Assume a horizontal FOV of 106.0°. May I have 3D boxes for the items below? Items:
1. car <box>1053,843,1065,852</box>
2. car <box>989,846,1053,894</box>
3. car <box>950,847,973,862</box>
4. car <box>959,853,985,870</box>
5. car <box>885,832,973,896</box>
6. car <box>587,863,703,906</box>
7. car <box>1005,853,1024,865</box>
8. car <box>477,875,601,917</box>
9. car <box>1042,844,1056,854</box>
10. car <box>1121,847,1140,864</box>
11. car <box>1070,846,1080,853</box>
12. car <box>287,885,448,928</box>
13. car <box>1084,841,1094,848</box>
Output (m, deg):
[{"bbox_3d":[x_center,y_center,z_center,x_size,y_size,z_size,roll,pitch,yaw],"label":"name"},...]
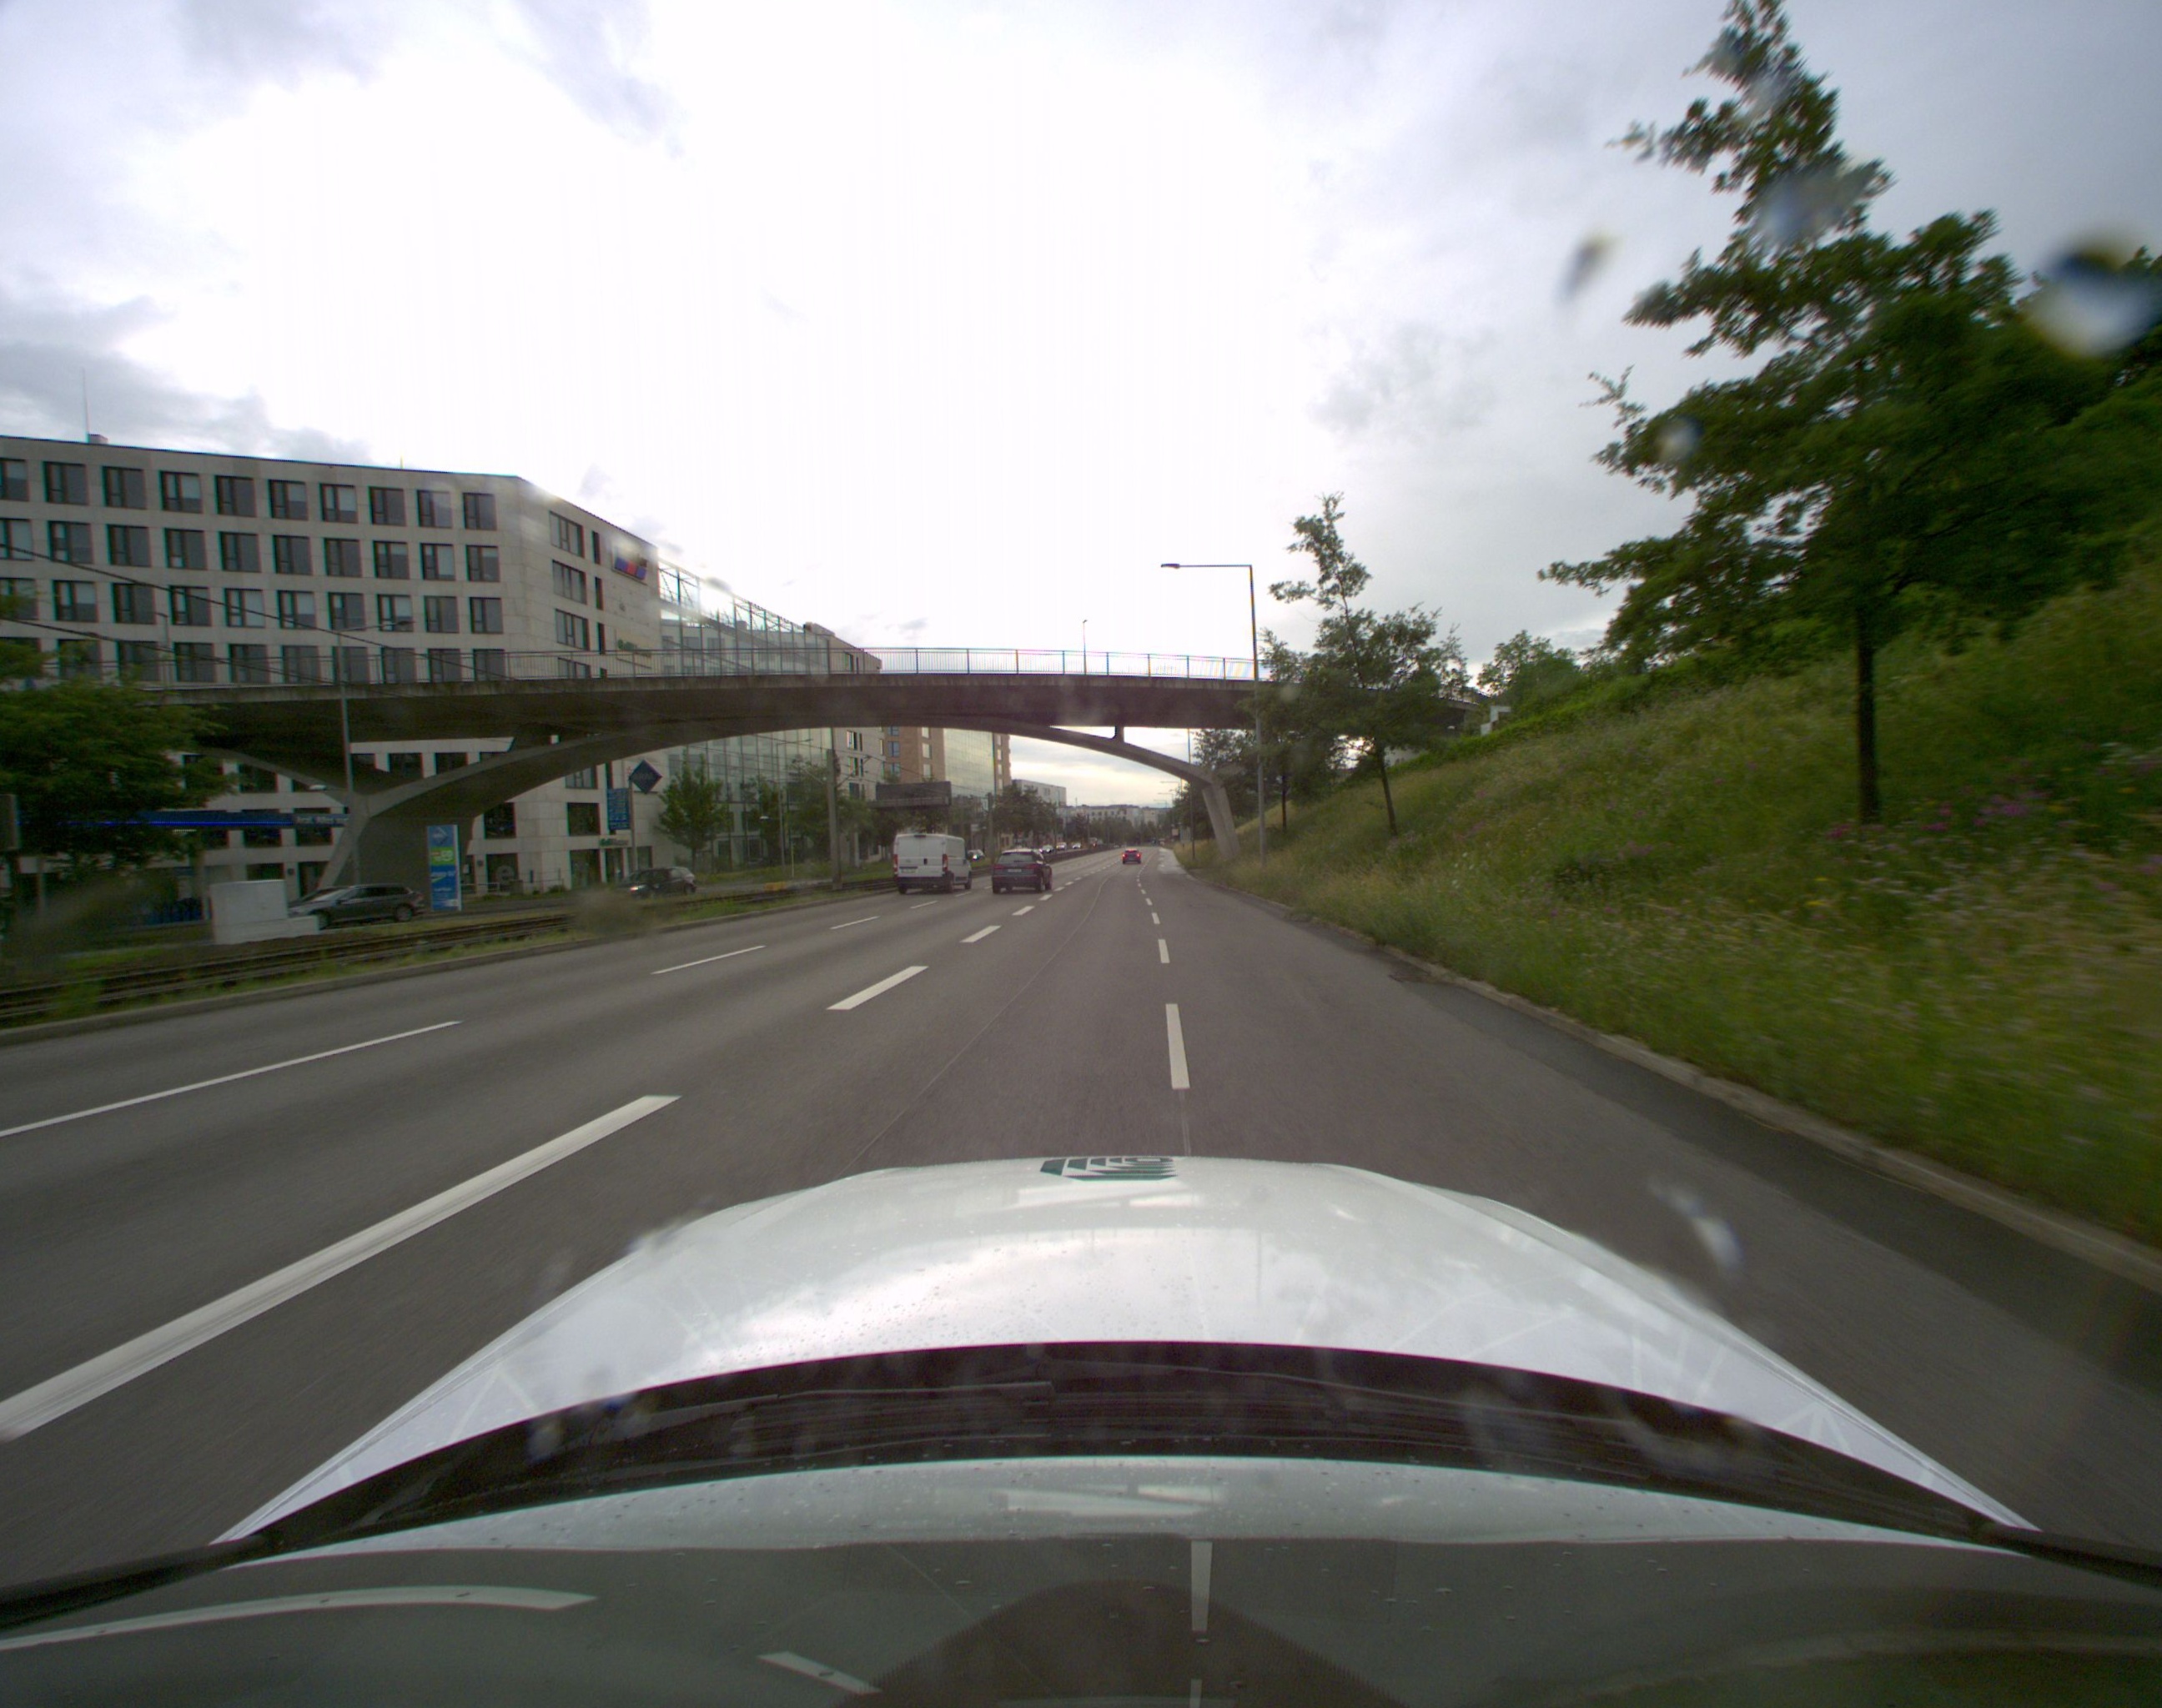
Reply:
[{"bbox_3d":[-4.822,-1.424,177.384,1.927,1.761,5.072,0,1,7],"label":"car"},{"bbox_3d":[-2.238,0.562,31.364,1.914,1.710,4.102,0,1,3],"label":"car"},{"bbox_3d":[-14.675,0.047,100.341,1.912,1.776,4.138,0,1,3],"label":"car"},{"bbox_3d":[-12.357,0.836,92.508,1.910,1.776,4.232,0,1,6],"label":"car"},{"bbox_3d":[-5.838,0.325,31.913,2.258,2.284,4.765,0,1,4],"label":"car"},{"bbox_3d":[-18.027,1.205,33.983,2.038,1.539,4.765,0,1,4],"label":"car"},{"bbox_3d":[-9.449,0.667,115.539,1.755,1.597,4.801,0,1,7],"label":"car"},{"bbox_3d":[-23.785,1.790,36.014,2.038,1.539,4.765,0,1,4],"label":"car"},{"bbox_3d":[-5.547,-0.866,141.660,1.800,1.533,4.879,0,1,7],"label":"car"},{"bbox_3d":[4.907,0.142,80.831,1.781,1.591,4.003,0,-1,3],"label":"car"},{"bbox_3d":[-1.595,-1.182,205.412,1.927,1.761,4.819,0,1,7],"label":"car"},{"bbox_3d":[-25.200,1.816,28.975,1.777,1.287,3.992,-1,-1,13],"label":"car"},{"bbox_3d":[2.144,-2.448,212.384,1.927,1.761,4.819,0,1,7],"label":"car"}]
